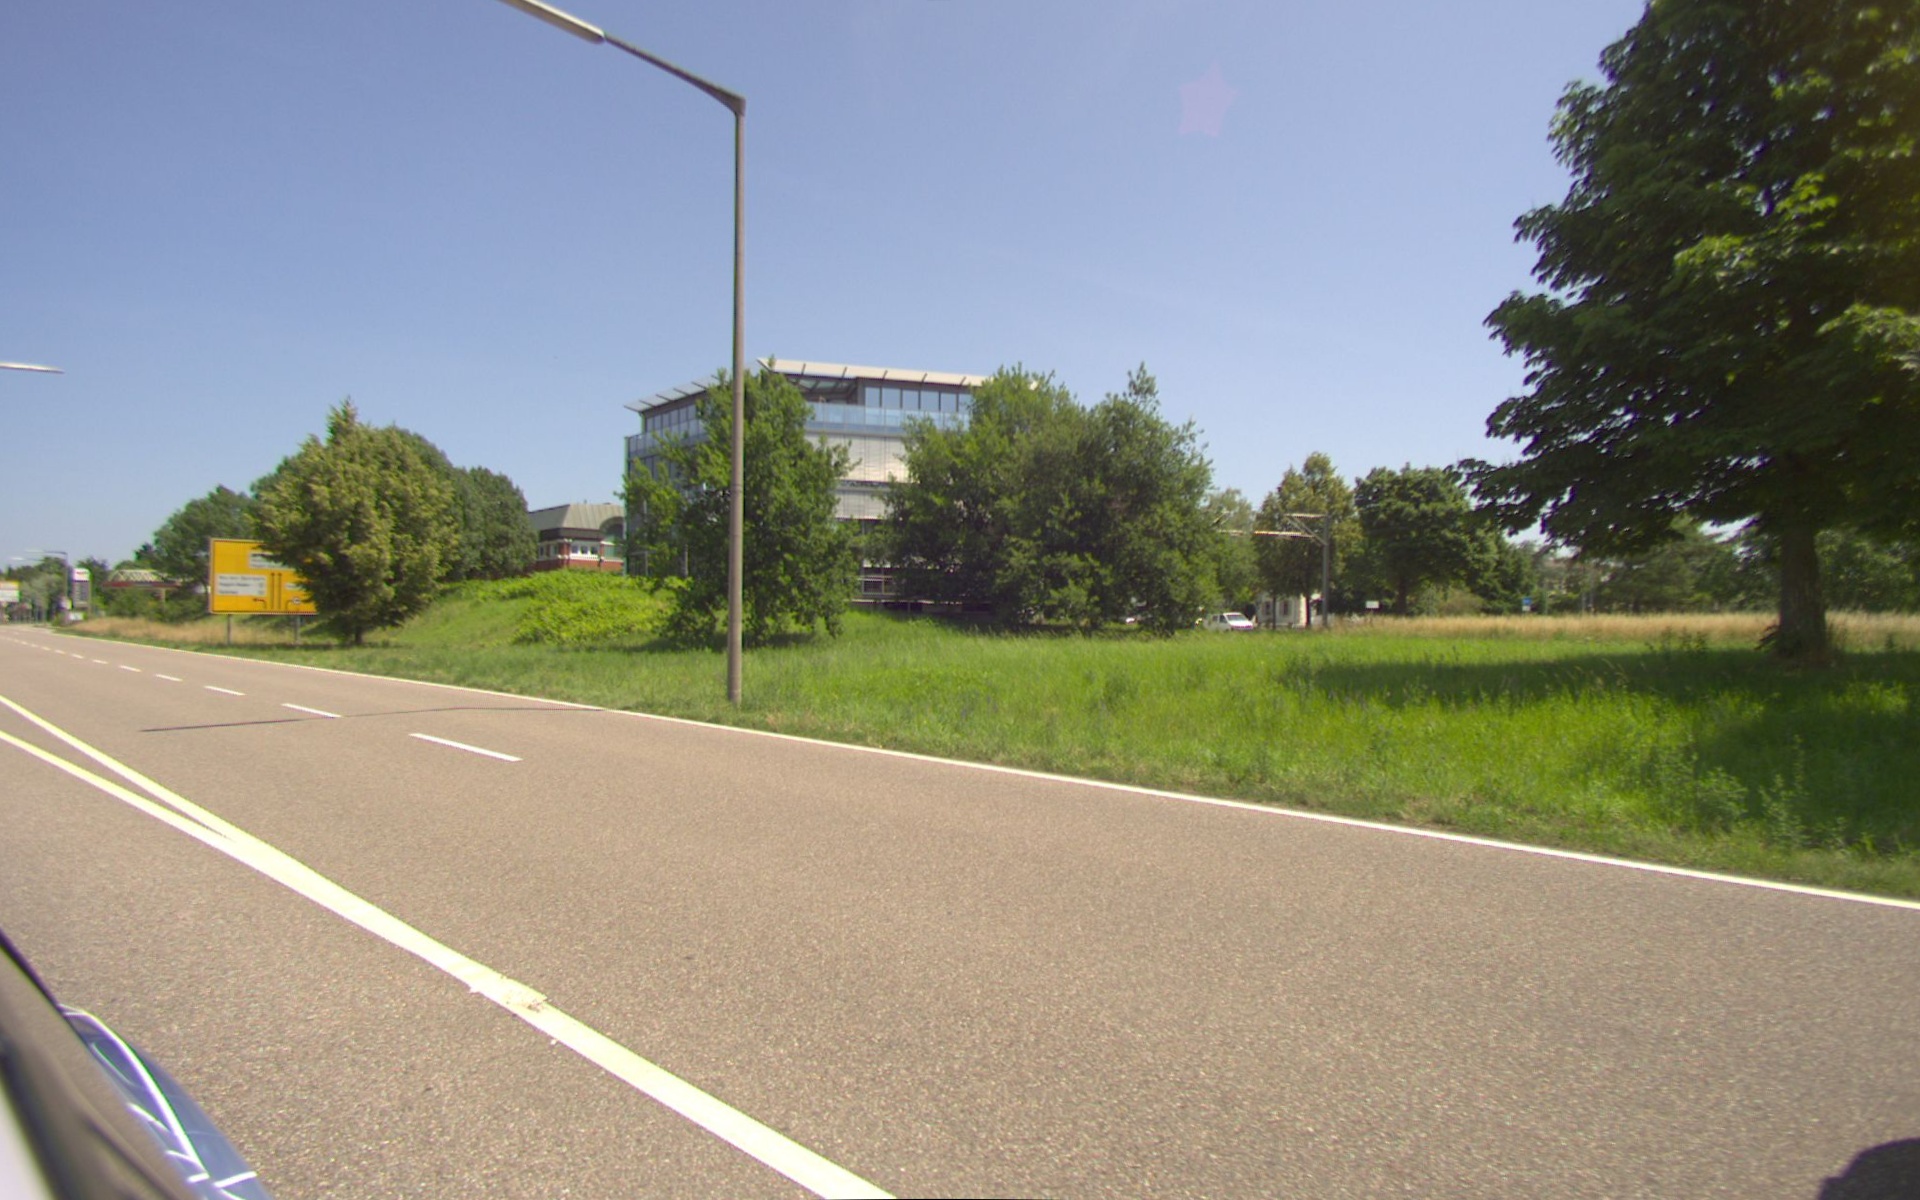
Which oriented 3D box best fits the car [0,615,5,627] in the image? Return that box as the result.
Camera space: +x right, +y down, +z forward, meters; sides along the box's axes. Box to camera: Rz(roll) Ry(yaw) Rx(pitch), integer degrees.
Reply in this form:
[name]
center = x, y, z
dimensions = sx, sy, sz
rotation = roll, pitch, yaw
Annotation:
[car]
center = -139.258, 3.057, 146.031
dimensions = 3.817, 1.598, 1.632
rotation = 0, -1, 41
